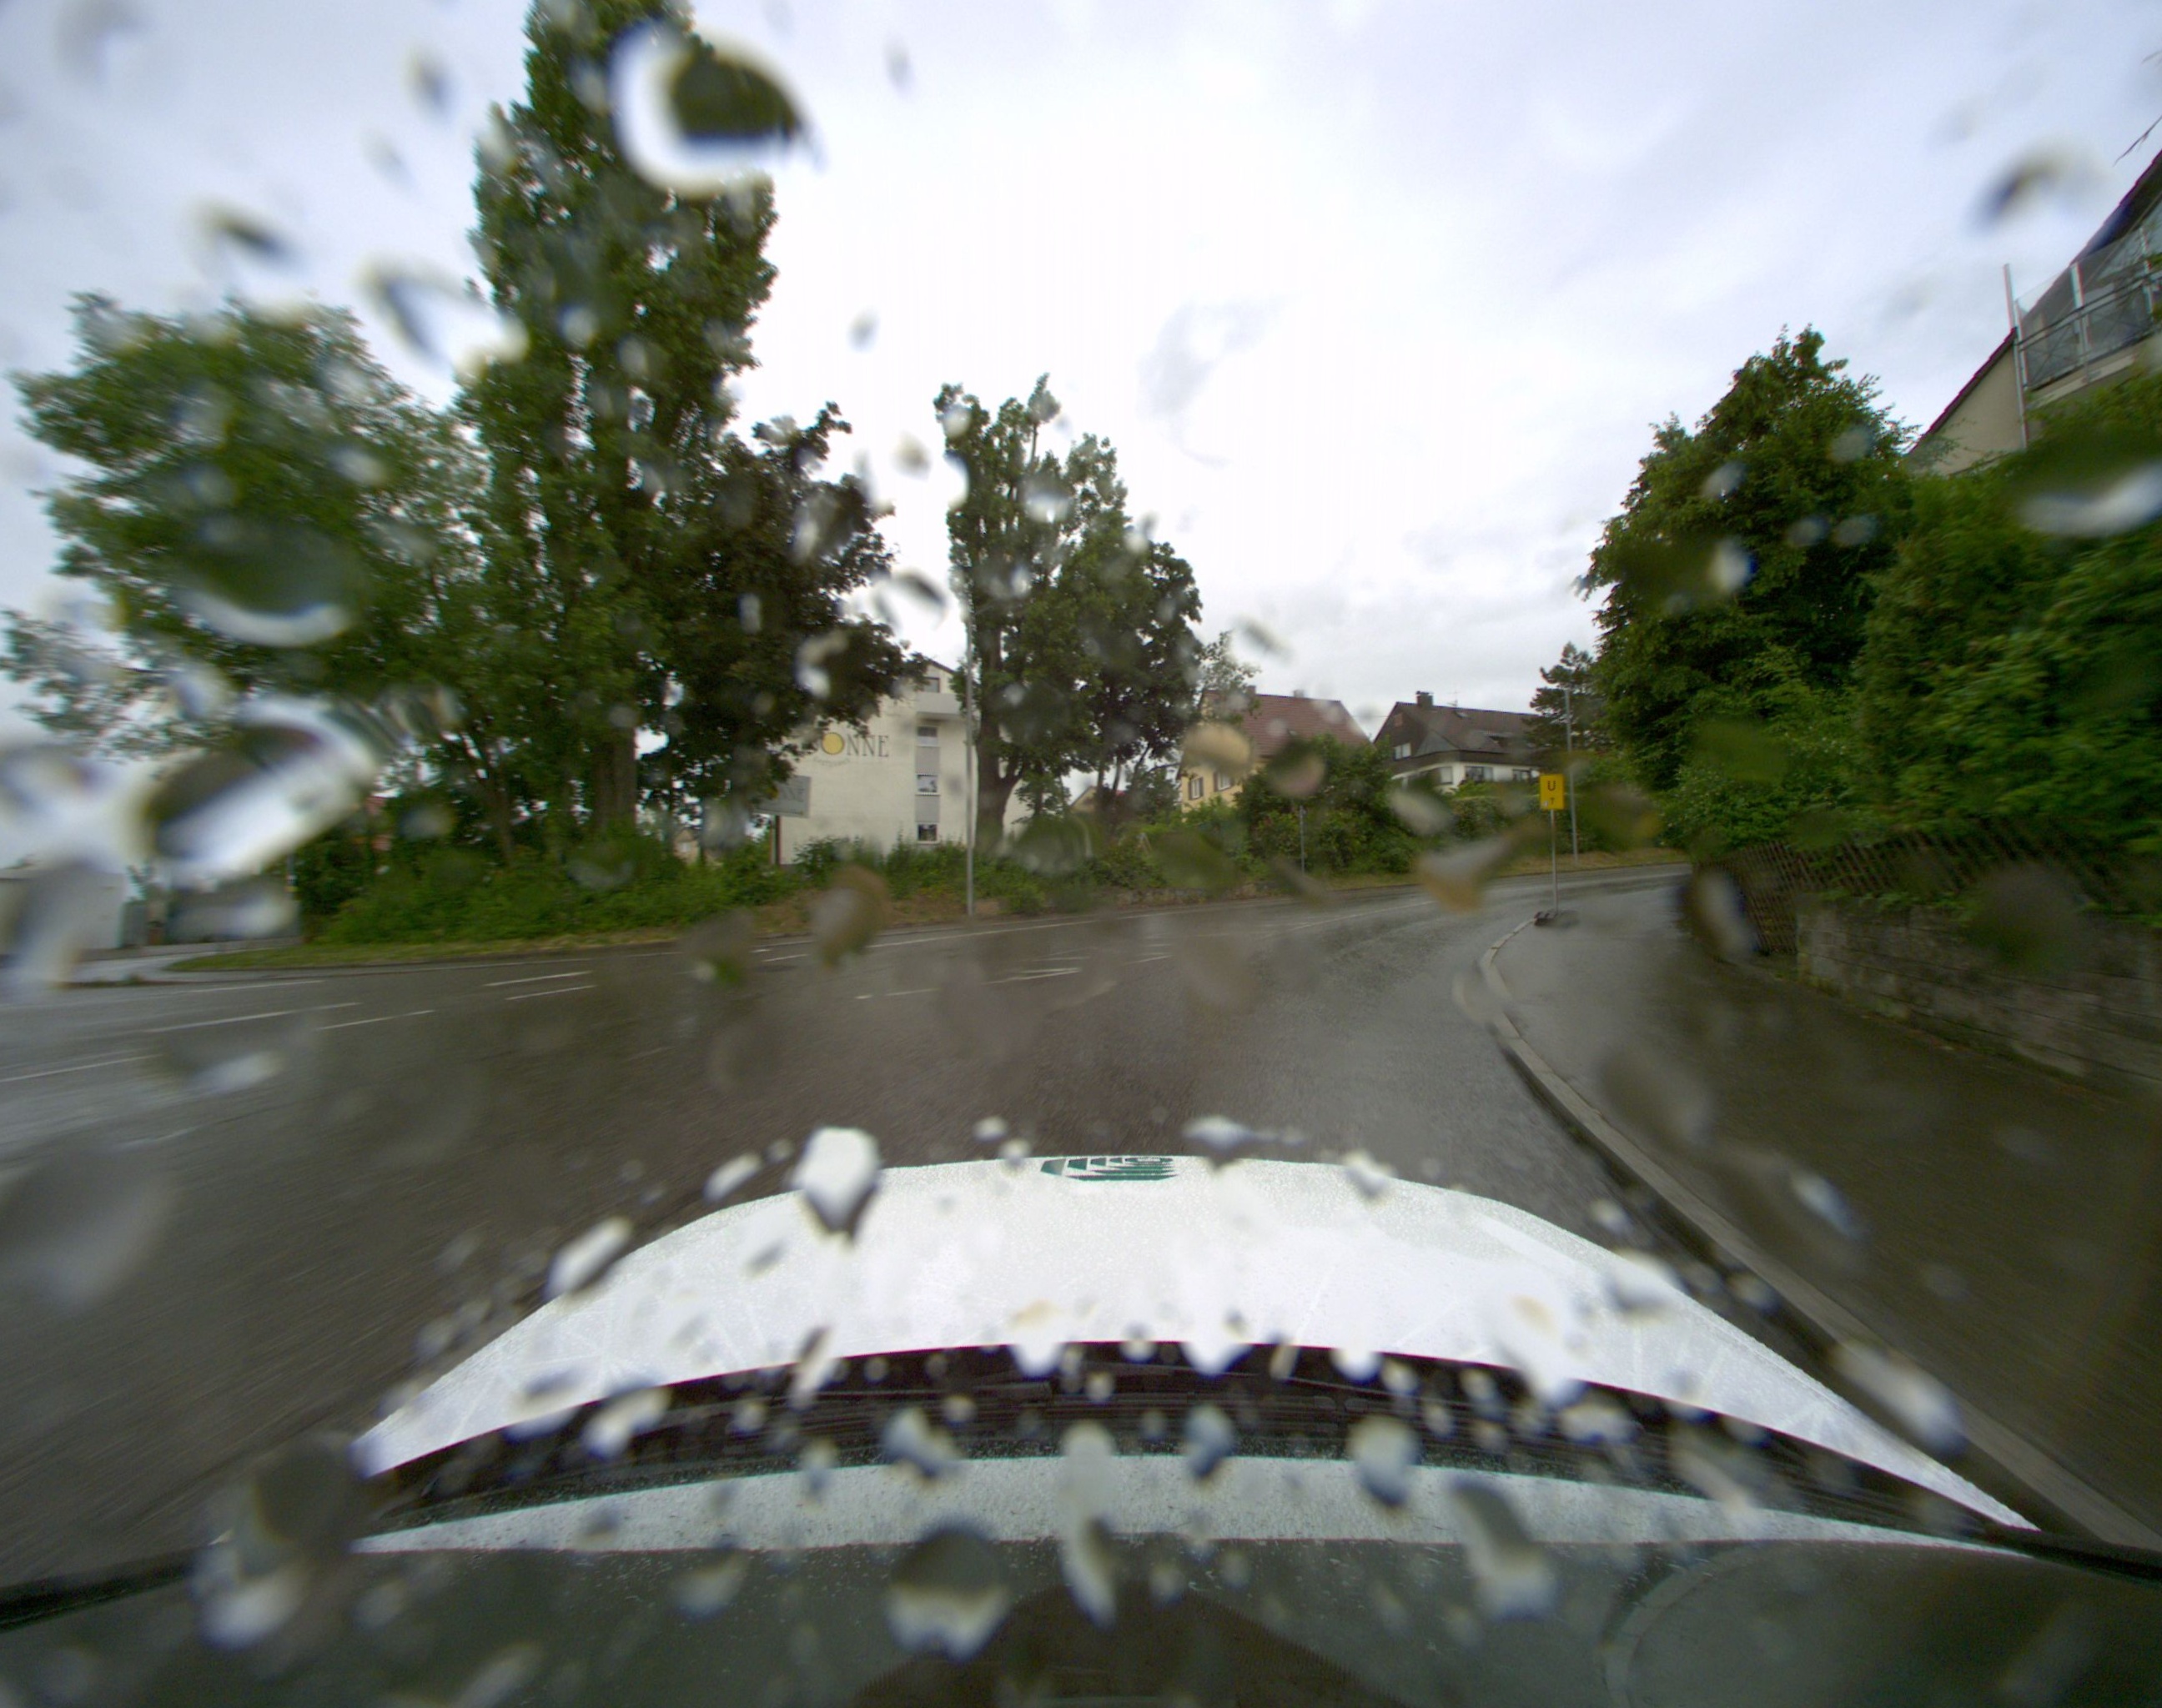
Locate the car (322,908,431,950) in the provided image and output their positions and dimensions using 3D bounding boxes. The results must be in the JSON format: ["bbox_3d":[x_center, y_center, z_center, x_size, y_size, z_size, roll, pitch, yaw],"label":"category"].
[{"bbox_3d":[-30.093,3.162,34.962,1.997,1.508,3.978,-1,-1,-15],"label":"car"}]
